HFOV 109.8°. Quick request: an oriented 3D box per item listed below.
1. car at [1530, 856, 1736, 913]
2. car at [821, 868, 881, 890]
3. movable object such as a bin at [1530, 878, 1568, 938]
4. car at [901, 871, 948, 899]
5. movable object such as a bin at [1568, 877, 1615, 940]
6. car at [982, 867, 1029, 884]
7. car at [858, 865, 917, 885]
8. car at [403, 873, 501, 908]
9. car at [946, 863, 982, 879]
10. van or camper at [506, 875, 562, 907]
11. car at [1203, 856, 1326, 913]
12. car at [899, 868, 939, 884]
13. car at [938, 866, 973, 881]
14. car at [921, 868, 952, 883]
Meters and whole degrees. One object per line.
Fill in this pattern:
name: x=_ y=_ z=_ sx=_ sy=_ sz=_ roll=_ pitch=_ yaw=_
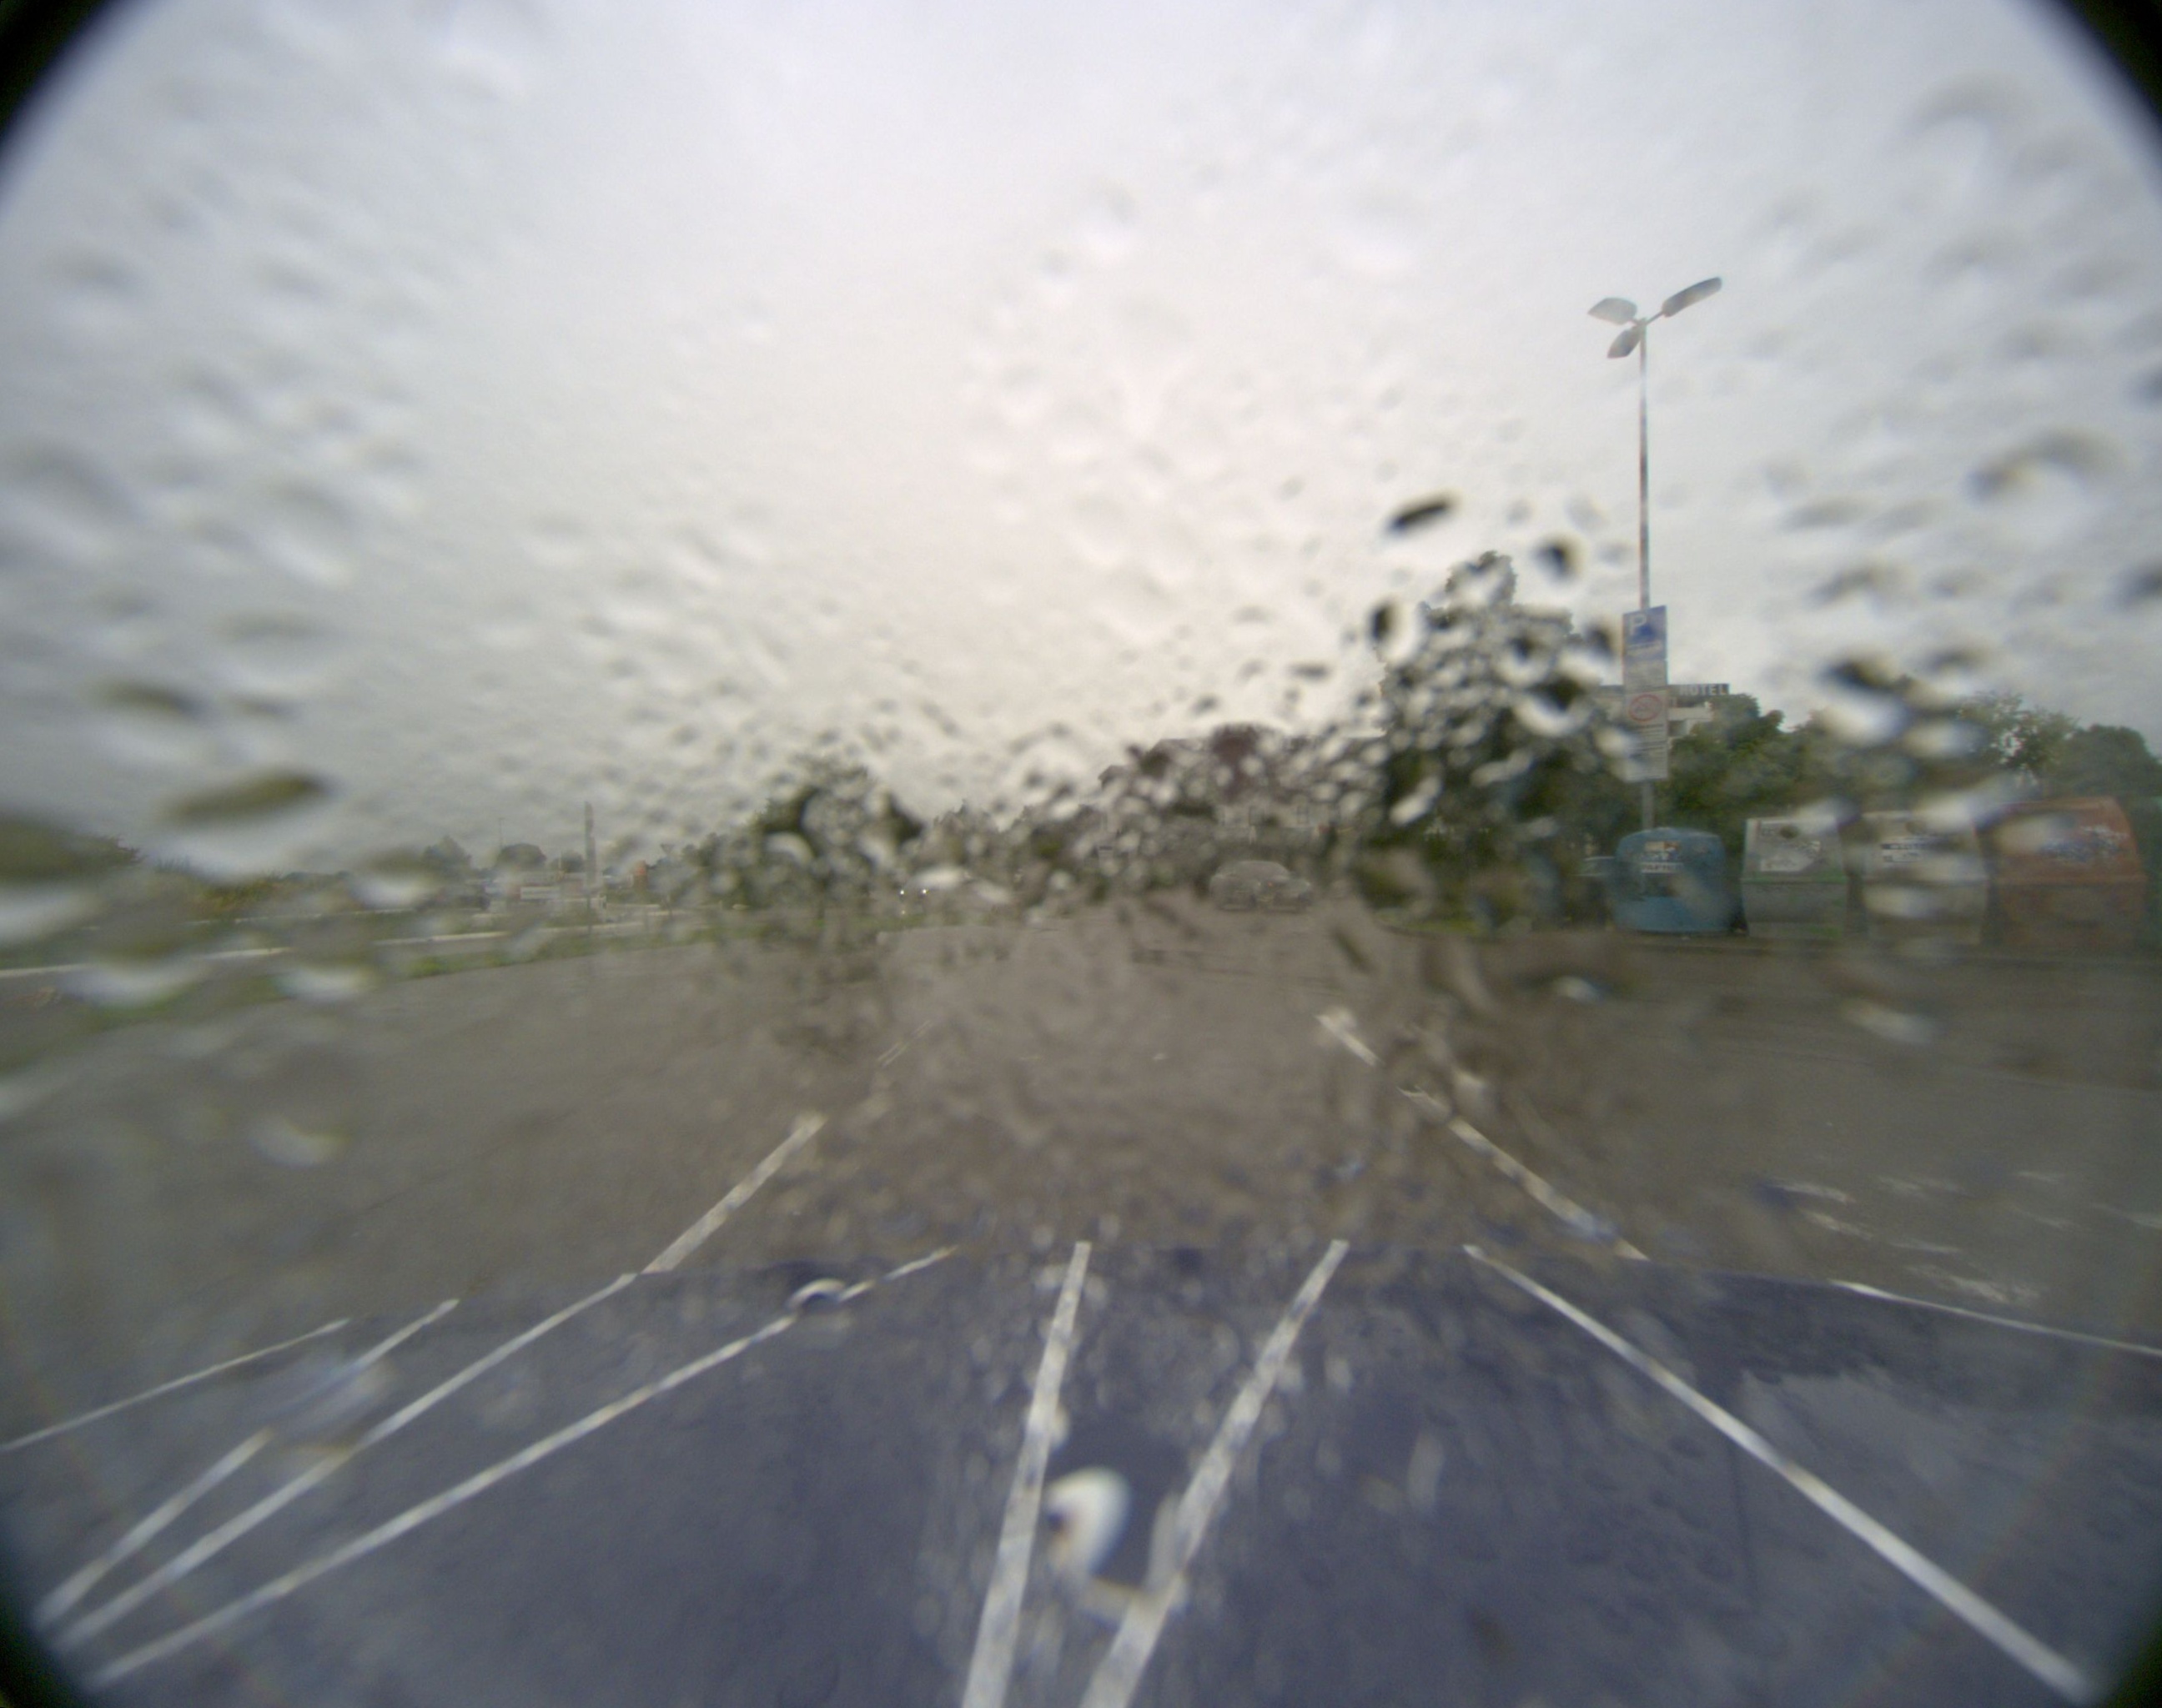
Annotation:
car: x=15.451 y=0.837 z=21.517 sx=1.873 sy=1.440 sz=4.319 roll=-1 pitch=-1 yaw=-32
car: x=-20.231 y=2.179 z=66.883 sx=4.606 sy=1.711 sz=2.000 roll=-3 pitch=-1 yaw=-2
movable object such as a bin: x=7.582 y=0.873 z=12.329 sx=0.434 sy=0.943 sz=0.474 roll=-3 pitch=0 yaw=25
car: x=-9.341 y=1.809 z=45.688 sx=1.705 sy=1.416 sz=4.360 roll=-3 pitch=0 yaw=2
movable object such as a bin: x=7.957 y=0.845 z=11.853 sx=0.405 sy=0.943 sz=0.450 roll=-3 pitch=0 yaw=1
car: x=-7.219 y=2.057 z=73.181 sx=4.358 sy=1.416 sz=1.850 roll=-2 pitch=-1 yaw=-3
car: x=-19.632 y=2.155 z=77.119 sx=5.374 sy=1.711 sz=2.000 roll=-3 pitch=-1 yaw=-2
car: x=-34.676 y=1.967 z=42.069 sx=2.000 sy=1.593 sz=4.521 roll=-3 pitch=0 yaw=-7
car: x=-13.988 y=2.064 z=90.739 sx=3.989 sy=1.717 sz=1.994 roll=-3 pitch=-1 yaw=38
van or camper: x=-37.546 y=2.464 z=52.293 sx=2.002 sy=2.001 sz=4.838 roll=1 pitch=-1 yaw=-22
car: x=5.656 y=0.933 z=24.051 sx=2.000 sy=1.565 sz=4.496 roll=-1 pitch=-1 yaw=-12
car: x=-18.119 y=2.441 z=84.896 sx=4.636 sy=1.541 sz=2.004 roll=-4 pitch=-1 yaw=41
car: x=-14.674 y=2.248 z=88.661 sx=3.878 sy=1.560 sz=1.753 roll=-3 pitch=-1 yaw=38
car: x=-16.578 y=2.427 z=87.060 sx=3.716 sy=1.540 sz=1.670 roll=-3 pitch=-1 yaw=44
